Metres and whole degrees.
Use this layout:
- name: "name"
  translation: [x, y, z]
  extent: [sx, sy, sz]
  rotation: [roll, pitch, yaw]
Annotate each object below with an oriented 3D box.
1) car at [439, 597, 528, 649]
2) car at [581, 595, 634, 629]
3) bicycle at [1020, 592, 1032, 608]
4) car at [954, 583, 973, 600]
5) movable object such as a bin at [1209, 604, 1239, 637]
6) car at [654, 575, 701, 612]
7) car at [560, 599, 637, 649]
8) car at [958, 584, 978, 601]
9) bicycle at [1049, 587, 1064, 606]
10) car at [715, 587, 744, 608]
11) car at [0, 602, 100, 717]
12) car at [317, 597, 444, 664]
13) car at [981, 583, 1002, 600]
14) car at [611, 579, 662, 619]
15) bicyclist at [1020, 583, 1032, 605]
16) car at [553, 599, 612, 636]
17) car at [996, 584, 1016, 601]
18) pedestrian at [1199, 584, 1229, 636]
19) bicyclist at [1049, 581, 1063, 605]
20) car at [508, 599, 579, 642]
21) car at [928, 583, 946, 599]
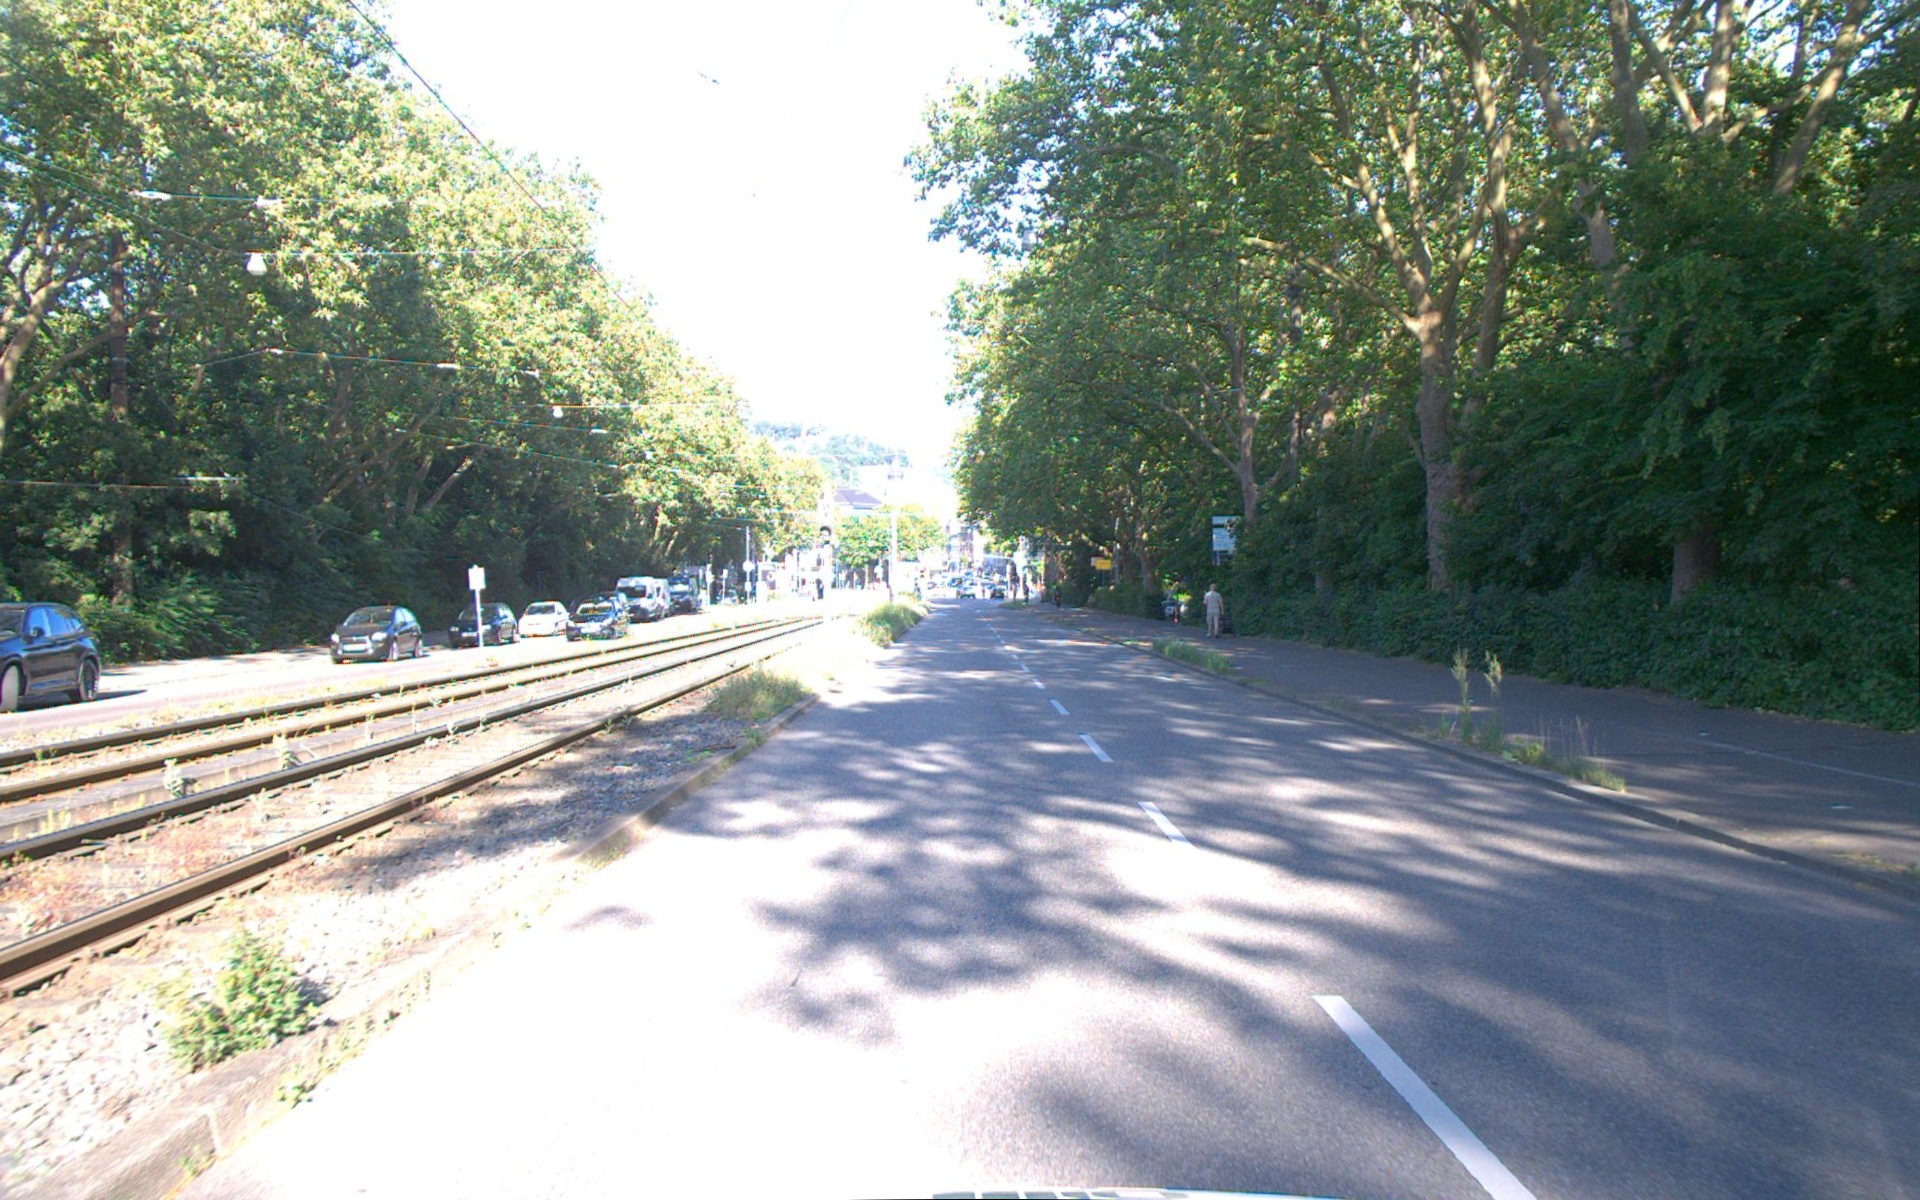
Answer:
- name: "car"
  translation: [-16.908, 0.780, 58.920]
  extent: [1.953, 1.726, 4.742]
  rotation: [-1, 0, -2]
- name: "car"
  translation: [-18.788, 0.612, 88.411]
  extent: [1.953, 1.726, 4.742]
  rotation: [-1, 0, -2]
- name: "bicycle"
  translation: [5.670, -0.015, 141.737]
  extent: [0.869, 1.344, 2.639]
  rotation: [-1, -1, -1]
- name: "car"
  translation: [0.391, -1.072, 213.362]
  extent: [2.345, 2.034, 5.304]
  rotation: [-1, 0, -1]
- name: "movable object such as a bin"
  translation: [7.956, 0.625, 49.864]
  extent: [0.787, 0.964, 0.656]
  rotation: [-1, 0, 3]
- name: "car"
  translation: [-20.173, -0.464, 118.289]
  extent: [2.345, 2.567, 5.898]
  rotation: [-1, 0, -1]
- name: "car"
  translation: [-13.278, 0.845, 60.971]
  extent: [1.953, 1.726, 4.742]
  rotation: [-1, 0, -2]
- name: "car"
  translation: [0.958, -0.881, 205.714]
  extent: [2.345, 2.034, 5.304]
  rotation: [-1, 0, -1]
- name: "bicycle"
  translation: [6.662, -0.242, 114.375]
  extent: [0.869, 1.344, 2.639]
  rotation: [-1, 0, -1]
- name: "car"
  translation: [-19.938, -0.194, 143.109]
  extent: [1.953, 1.726, 4.742]
  rotation: [-1, 0, -2]
- name: "car"
  translation: [-15.239, 0.913, 25.926]
  extent: [1.708, 1.665, 3.995]
  rotation: [-2, 1, -6]
- name: "car"
  translation: [-15.883, 0.796, 45.583]
  extent: [1.953, 1.726, 4.742]
  rotation: [-1, 0, -2]
- name: "car"
  translation: [3.858, -1.023, 201.151]
  extent: [2.345, 2.034, 5.304]
  rotation: [-1, 0, -1]
- name: "car"
  translation: [-18.632, -0.050, 95.458]
  extent: [1.953, 2.202, 5.812]
  rotation: [-1, 0, -2]
- name: "bicyclist"
  translation: [5.653, -0.520, 141.661]
  extent: [0.869, 1.805, 1.222]
  rotation: [-1, 0, -1]
- name: "car"
  translation: [-18.557, 0.859, 81.509]
  extent: [1.953, 1.726, 4.742]
  rotation: [-1, 0, -2]
- name: "car"
  translation: [5.879, -0.926, 210.446]
  extent: [2.345, 2.034, 5.304]
  rotation: [-1, 0, -1]
- name: "pedestrian"
  translation: [7.765, 0.302, 50.621]
  extent: [0.787, 1.573, 0.814]
  rotation: [-1, 0, 3]
- name: "bicyclist"
  translation: [6.656, -0.493, 114.474]
  extent: [0.869, 1.667, 1.164]
  rotation: [-1, 0, -1]
- name: "car"
  translation: [-17.652, 0.838, 70.234]
  extent: [1.953, 1.726, 4.742]
  rotation: [-1, 0, -2]
- name: "car"
  translation: [-3.001, -1.172, 215.284]
  extent: [2.345, 2.034, 5.304]
  rotation: [-1, 0, -1]
